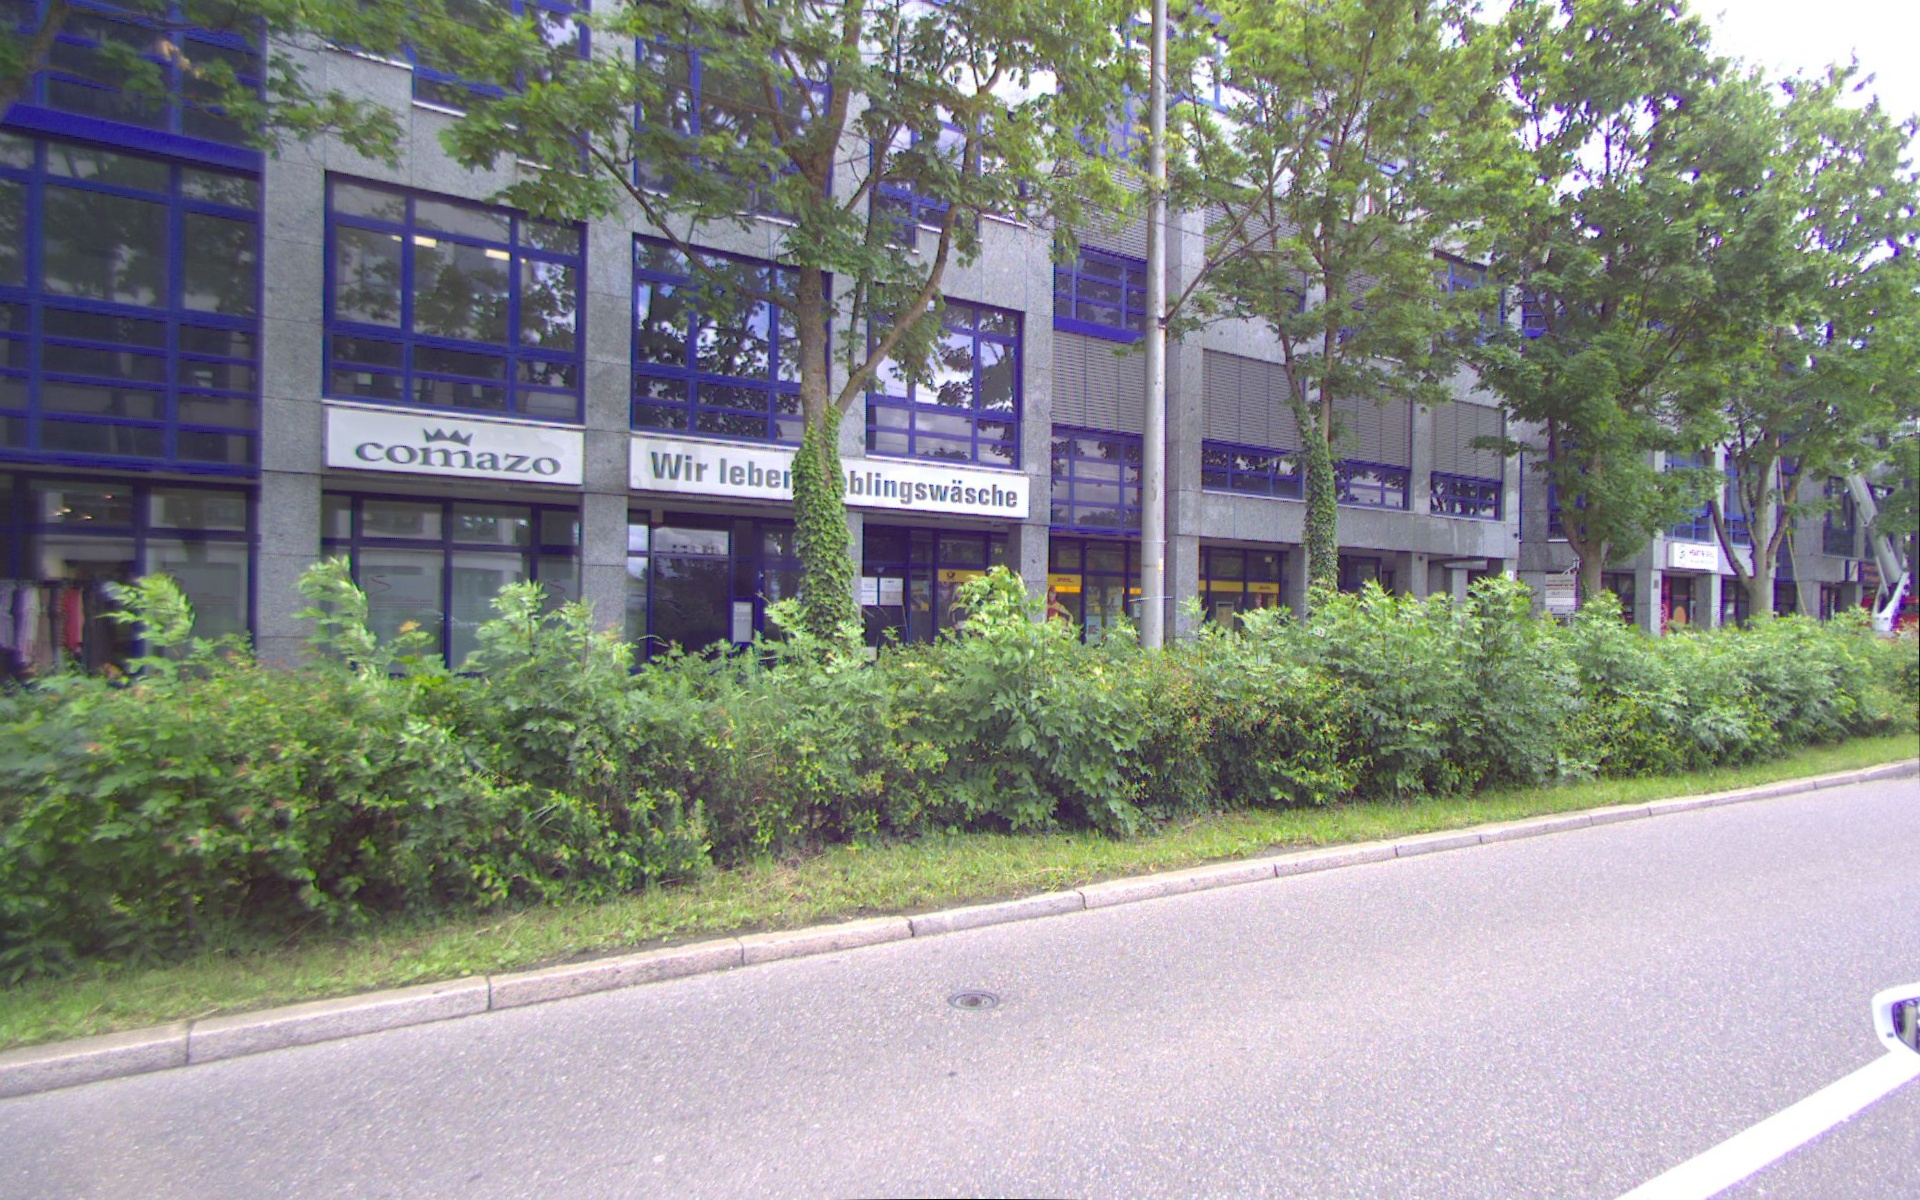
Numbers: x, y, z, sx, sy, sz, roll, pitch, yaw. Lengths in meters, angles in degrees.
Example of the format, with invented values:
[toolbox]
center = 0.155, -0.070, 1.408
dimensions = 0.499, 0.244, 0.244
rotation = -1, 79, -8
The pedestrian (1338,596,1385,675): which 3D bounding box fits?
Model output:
[pedestrian]
center = 10.003, 0.875, 25.060
dimensions = 0.723, 1.919, 0.771
rotation = 2, 0, -30
